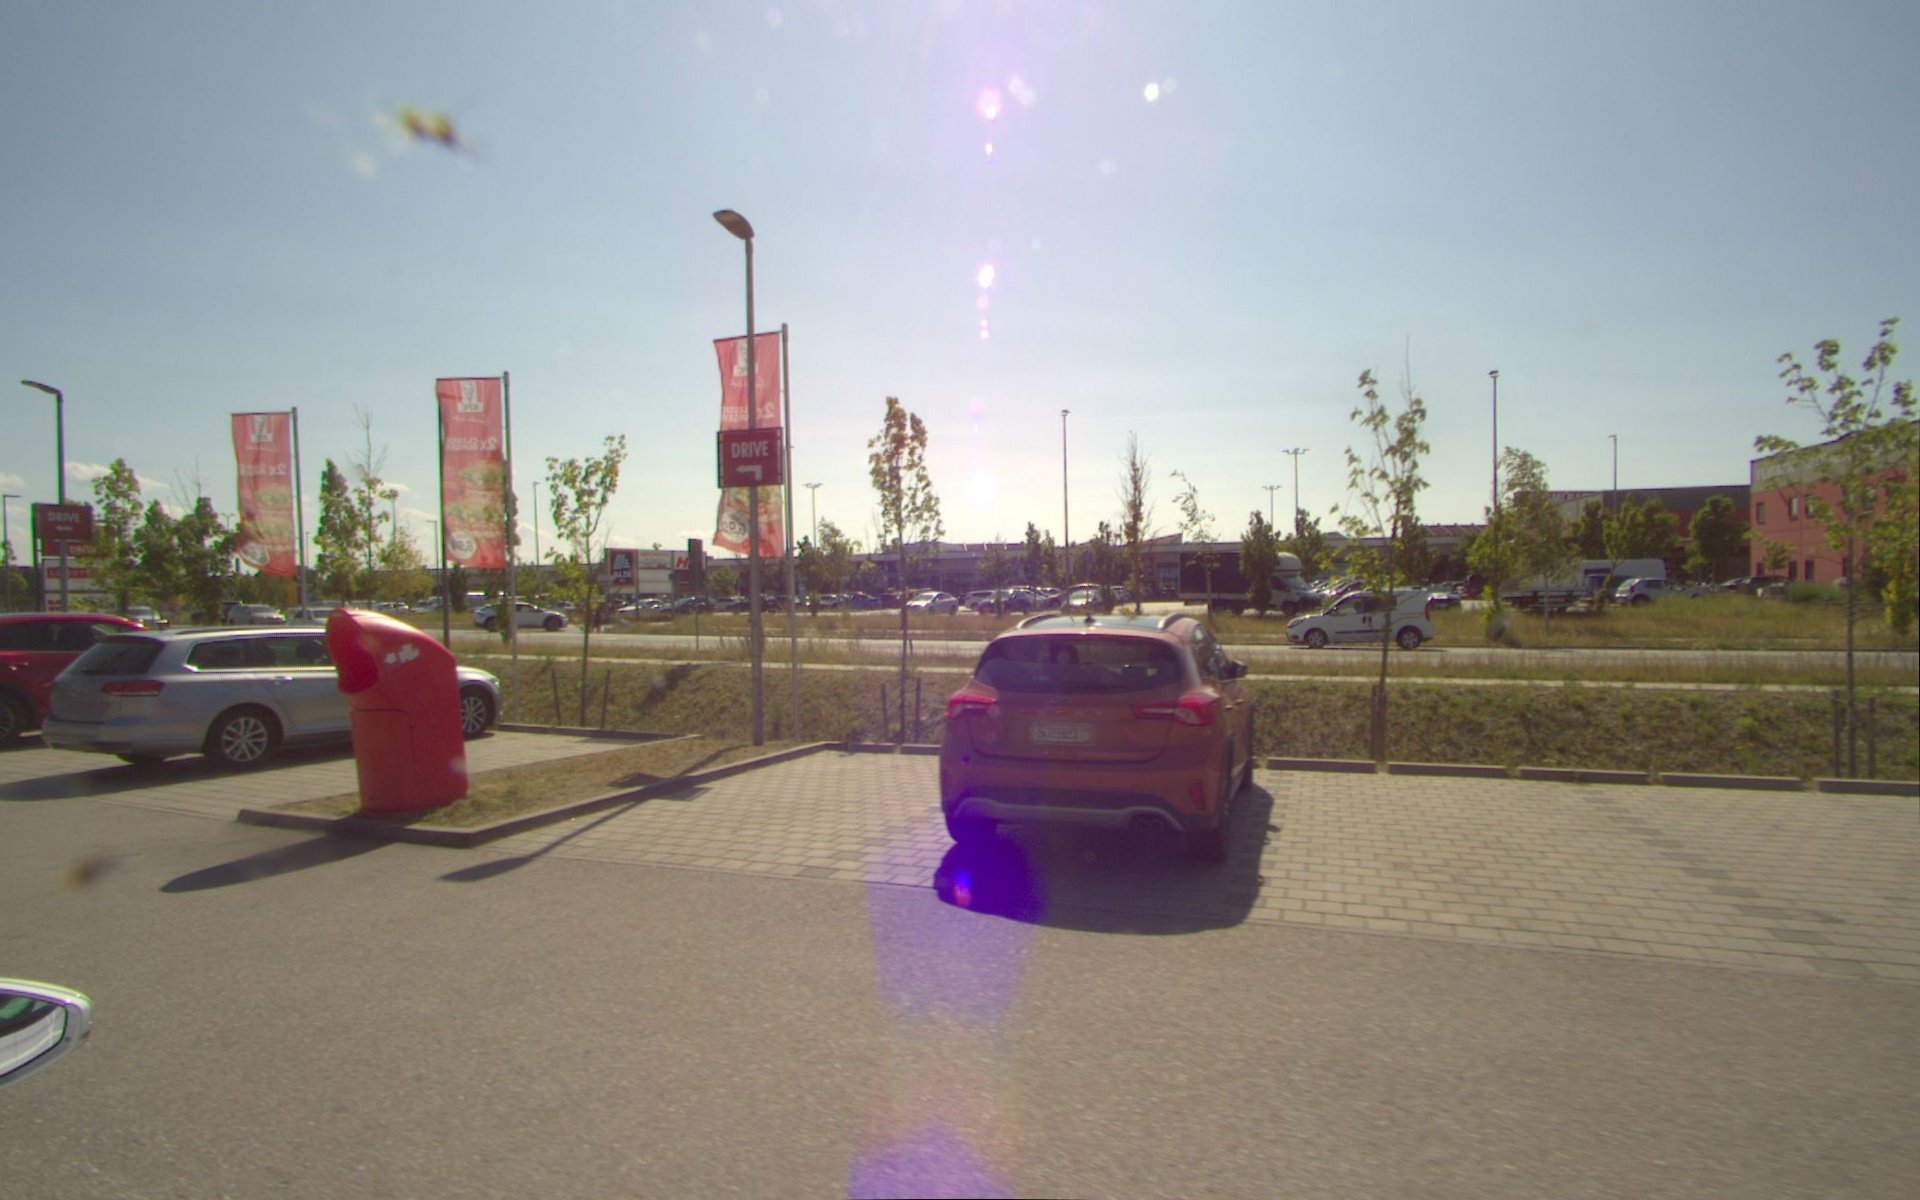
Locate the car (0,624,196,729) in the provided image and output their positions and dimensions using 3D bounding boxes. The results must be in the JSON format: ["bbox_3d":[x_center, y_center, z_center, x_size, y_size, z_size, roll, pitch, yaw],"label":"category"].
[{"bbox_3d":[-13.979,1.088,14.628,1.744,1.428,4.195,0,-1,23],"label":"car"}]

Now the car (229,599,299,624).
[{"bbox_3d":[-43.688,0.694,62.868,4.589,1.524,1.989,0,1,32],"label":"car"}]

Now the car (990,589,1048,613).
[{"bbox_3d":[4.730,0.035,80.192,4.322,1.880,1.953,0,1,13],"label":"car"}]

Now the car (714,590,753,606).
[{"bbox_3d":[-22.689,-0.244,100.312,3.409,1.573,1.666,0,1,8],"label":"car"}]

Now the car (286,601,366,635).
[{"bbox_3d":[-30.223,0.814,47.700,4.602,1.547,1.984,0,1,41],"label":"car"}]

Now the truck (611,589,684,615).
[{"bbox_3d":[-24.005,0.143,77.039,1.971,1.888,5.403,1,1,32],"label":"truck"}]

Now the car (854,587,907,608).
[{"bbox_3d":[-7.187,-0.246,90.770,4.487,1.880,1.953,0,1,13],"label":"car"}]

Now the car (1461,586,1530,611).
[{"bbox_3d":[41.484,-0.127,77.687,4.322,1.880,1.953,0,1,13],"label":"car"}]

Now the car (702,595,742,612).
[{"bbox_3d":[-23.255,0.350,97.757,3.409,1.573,1.666,0,1,8],"label":"car"}]

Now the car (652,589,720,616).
[{"bbox_3d":[-20.131,0.175,73.711,1.972,1.871,4.705,1,1,33],"label":"car"}]

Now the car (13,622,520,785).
[{"bbox_3d":[-7.563,0.994,11.551,1.712,1.431,4.586,0,-1,25],"label":"car"}]

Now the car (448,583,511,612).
[{"bbox_3d":[-42.594,-0.224,88.924,1.966,2.488,5.062,0,1,22],"label":"car"}]

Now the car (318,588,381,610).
[{"bbox_3d":[-58.719,-0.071,96.399,1.966,2.040,5.062,0,1,22],"label":"car"}]

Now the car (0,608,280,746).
[{"bbox_3d":[-11.959,0.948,13.530,1.919,1.659,4.217,0,-1,25],"label":"car"}]

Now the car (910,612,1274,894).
[{"bbox_3d":[1.319,0.849,7.642,1.801,1.488,4.344,0,-1,21],"label":"car"}]

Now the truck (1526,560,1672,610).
[{"bbox_3d":[37.319,-0.886,58.691,6.926,2.852,1.953,0,1,13],"label":"truck"}]

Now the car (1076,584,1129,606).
[{"bbox_3d":[12.261,-0.457,86.134,4.322,1.880,1.953,0,1,13],"label":"car"}]

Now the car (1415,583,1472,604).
[{"bbox_3d":[44.042,-0.554,91.309,4.322,1.880,1.953,0,1,13],"label":"car"}]

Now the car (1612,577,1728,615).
[{"bbox_3d":[35.967,-0.213,50.850,4.322,1.880,1.953,0,1,13],"label":"car"}]

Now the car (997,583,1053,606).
[{"bbox_3d":[5.362,-0.450,82.650,4.322,1.880,1.953,0,1,13],"label":"car"}]

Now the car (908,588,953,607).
[{"bbox_3d":[-3.066,-0.260,104.348,4.322,1.880,1.953,0,1,13],"label":"car"}]

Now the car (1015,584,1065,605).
[{"bbox_3d":[7.199,-0.490,90.341,4.321,1.880,1.954,0,1,11],"label":"car"}]

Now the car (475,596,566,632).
[{"bbox_3d":[-23.446,0.721,53.457,4.341,1.870,1.990,0,1,-28],"label":"car"}]

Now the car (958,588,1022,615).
[{"bbox_3d":[2.185,0.090,72.413,4.322,1.880,1.953,0,1,13],"label":"car"}]

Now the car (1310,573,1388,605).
[{"bbox_3d":[23.728,-0.673,61.156,4.187,1.880,1.868,0,1,13],"label":"car"}]

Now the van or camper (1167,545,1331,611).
[{"bbox_3d":[14.599,-1.053,51.137,2.395,3.143,7.977,-1,1,-43],"label":"van or camper"}]

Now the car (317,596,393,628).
[{"bbox_3d":[-33.561,0.648,55.498,4.539,1.686,1.868,0,1,34],"label":"car"}]

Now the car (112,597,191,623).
[{"bbox_3d":[-50.455,0.618,62.465,4.580,1.547,1.994,0,1,24],"label":"car"}]

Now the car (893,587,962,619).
[{"bbox_3d":[-1.924,0.177,60.583,1.974,1.880,4.258,1,1,36],"label":"car"}]

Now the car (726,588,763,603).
[{"bbox_3d":[-22.688,-0.457,105.486,3.409,1.573,1.666,0,1,8],"label":"car"}]

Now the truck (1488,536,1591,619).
[{"bbox_3d":[26.679,-0.969,46.391,2.719,3.527,6.819,0,1,18],"label":"truck"}]

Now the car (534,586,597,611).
[{"bbox_3d":[-33.550,-0.130,85.269,1.966,2.040,5.165,0,1,22],"label":"car"}]

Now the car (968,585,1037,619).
[{"bbox_3d":[2.515,0.100,58.020,1.930,1.880,4.375,1,1,36],"label":"car"}]

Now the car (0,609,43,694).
[{"bbox_3d":[-20.426,1.004,18.794,1.868,1.659,4.427,0,-1,32],"label":"car"}]

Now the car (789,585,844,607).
[{"bbox_3d":[-13.627,-0.362,95.305,4.837,2.041,2.081,0,1,9],"label":"car"}]

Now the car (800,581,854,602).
[{"bbox_3d":[-12.953,-0.794,97.887,4.837,2.041,2.081,0,1,9],"label":"car"}]

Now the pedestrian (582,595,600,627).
[{"bbox_3d":[-18.779,0.552,50.972,0.659,1.577,0.621,1,1,39],"label":"pedestrian"}]

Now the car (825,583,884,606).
[{"bbox_3d":[-8.724,-0.479,83.067,4.487,1.880,1.953,0,1,13],"label":"car"}]

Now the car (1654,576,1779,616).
[{"bbox_3d":[36.188,-0.196,48.029,4.322,1.880,1.953,0,1,13],"label":"car"}]

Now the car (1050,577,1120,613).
[{"bbox_3d":[6.900,-0.261,54.978,1.930,1.880,4.375,1,1,36],"label":"car"}]

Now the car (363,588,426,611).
[{"bbox_3d":[-53.215,-0.058,94.354,1.966,2.040,5.062,0,1,22],"label":"car"}]

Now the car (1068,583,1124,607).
[{"bbox_3d":[11.081,-0.432,81.369,4.322,1.880,1.953,0,1,13],"label":"car"}]

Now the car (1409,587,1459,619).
[{"bbox_3d":[22.751,0.133,48.214,1.625,1.479,3.959,0,0,18],"label":"car"}]

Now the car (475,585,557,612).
[{"bbox_3d":[-38.563,-0.139,87.190,2.771,2.267,6.288,0,1,26],"label":"car"}]

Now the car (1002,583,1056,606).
[{"bbox_3d":[5.903,-0.463,85.112,4.322,1.880,1.953,0,1,13],"label":"car"}]

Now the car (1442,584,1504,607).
[{"bbox_3d":[43.712,-0.393,85.332,4.322,1.880,1.953,0,1,13],"label":"car"}]

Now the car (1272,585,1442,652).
[{"bbox_3d":[12.389,0.538,31.500,4.810,1.980,1.874,0,1,21],"label":"car"}]

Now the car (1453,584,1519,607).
[{"bbox_3d":[42.603,-0.372,81.174,4.322,1.880,1.953,0,1,13],"label":"car"}]

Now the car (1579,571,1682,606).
[{"bbox_3d":[37.283,-0.638,55.809,4.322,1.880,1.953,0,1,13],"label":"car"}]
